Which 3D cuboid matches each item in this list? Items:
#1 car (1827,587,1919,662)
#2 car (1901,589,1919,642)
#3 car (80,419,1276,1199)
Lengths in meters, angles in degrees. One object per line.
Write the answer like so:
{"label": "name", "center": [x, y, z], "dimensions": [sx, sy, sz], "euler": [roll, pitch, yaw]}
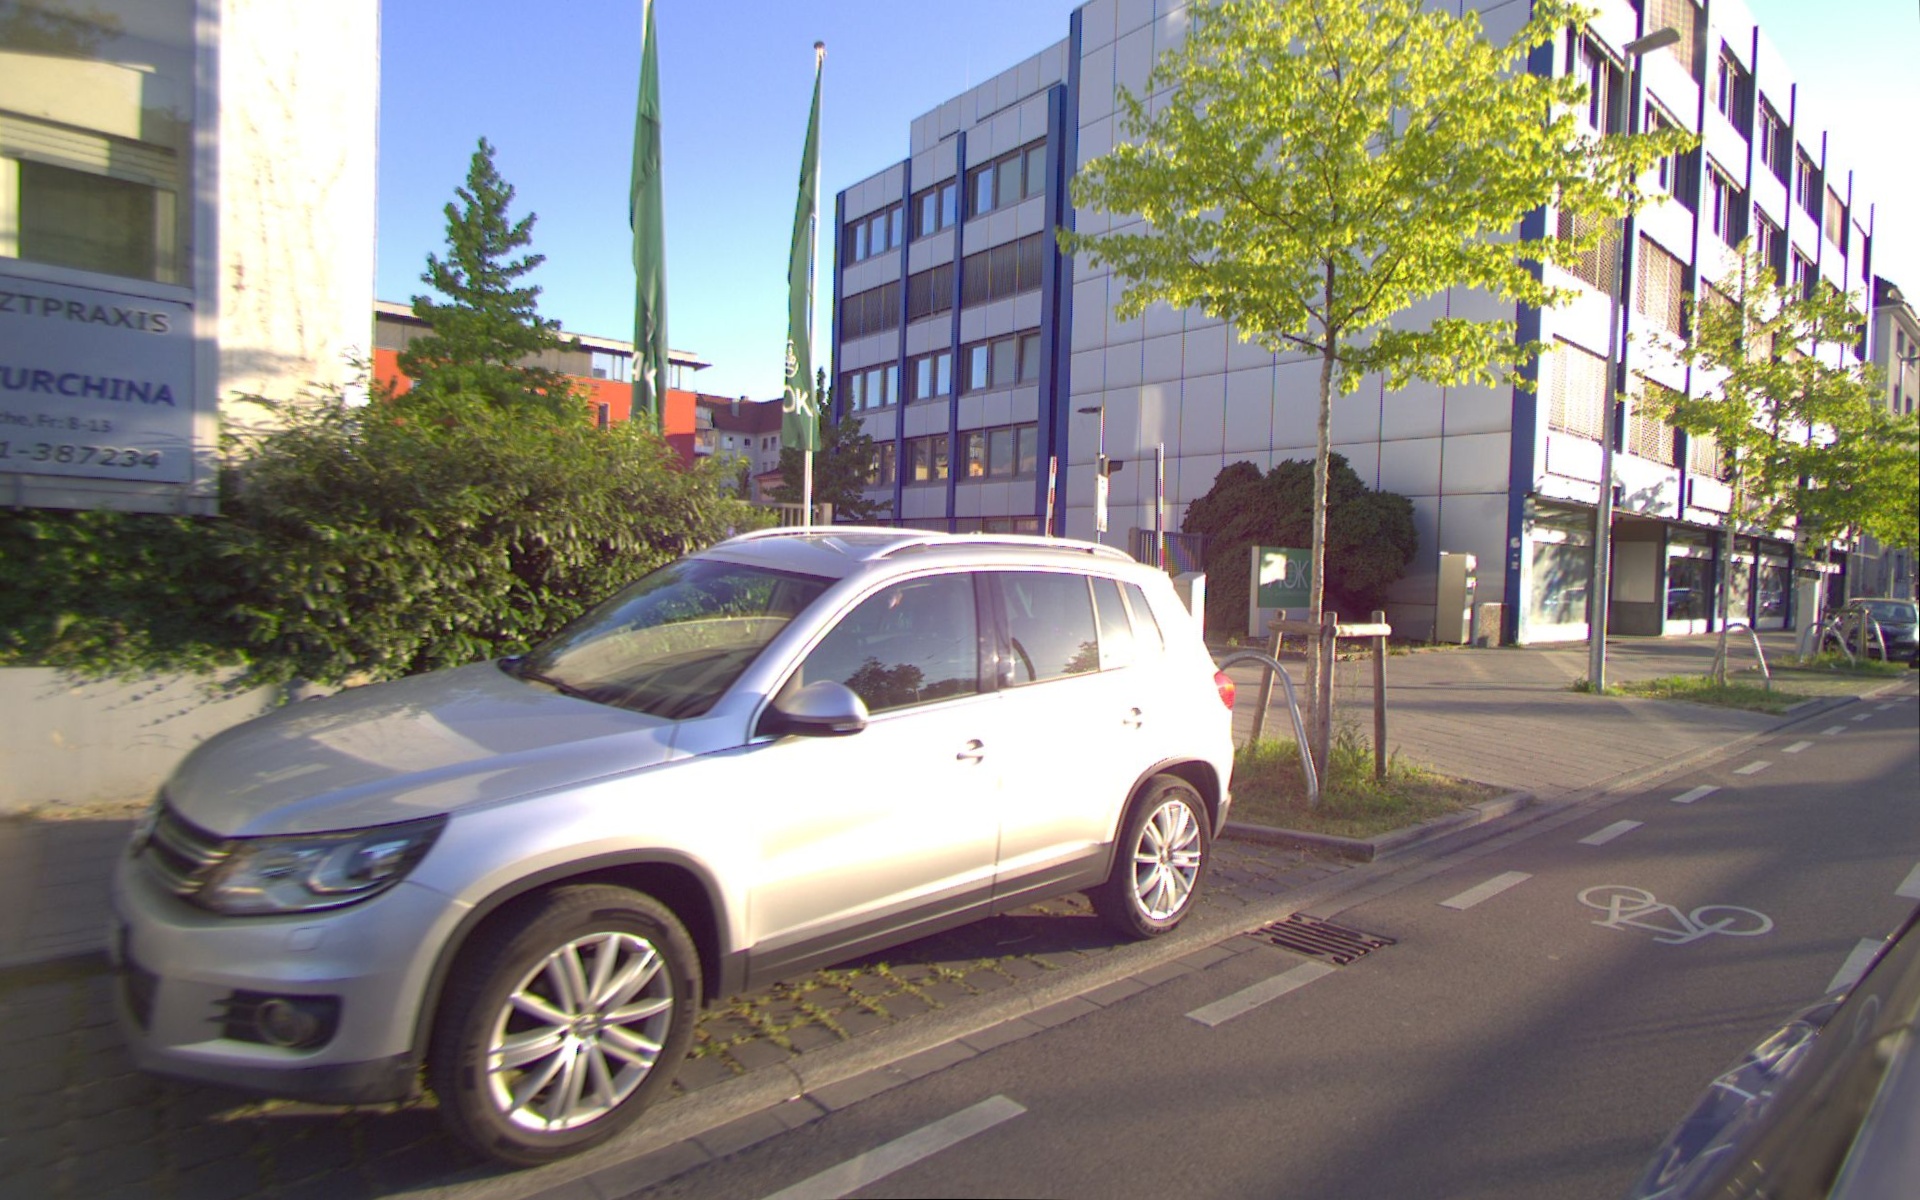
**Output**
{"label": "car", "center": [21.060, 0.499, 22.890], "dimensions": [4.061, 1.472, 1.821], "euler": [-1, 4, -45]}
{"label": "car", "center": [28.756, 0.466, 29.363], "dimensions": [4.058, 1.472, 1.687], "euler": [0, 3, -42]}
{"label": "car", "center": [-0.700, 0.484, 4.014], "dimensions": [4.181, 1.728, 1.857], "euler": [0, 2, -43]}
